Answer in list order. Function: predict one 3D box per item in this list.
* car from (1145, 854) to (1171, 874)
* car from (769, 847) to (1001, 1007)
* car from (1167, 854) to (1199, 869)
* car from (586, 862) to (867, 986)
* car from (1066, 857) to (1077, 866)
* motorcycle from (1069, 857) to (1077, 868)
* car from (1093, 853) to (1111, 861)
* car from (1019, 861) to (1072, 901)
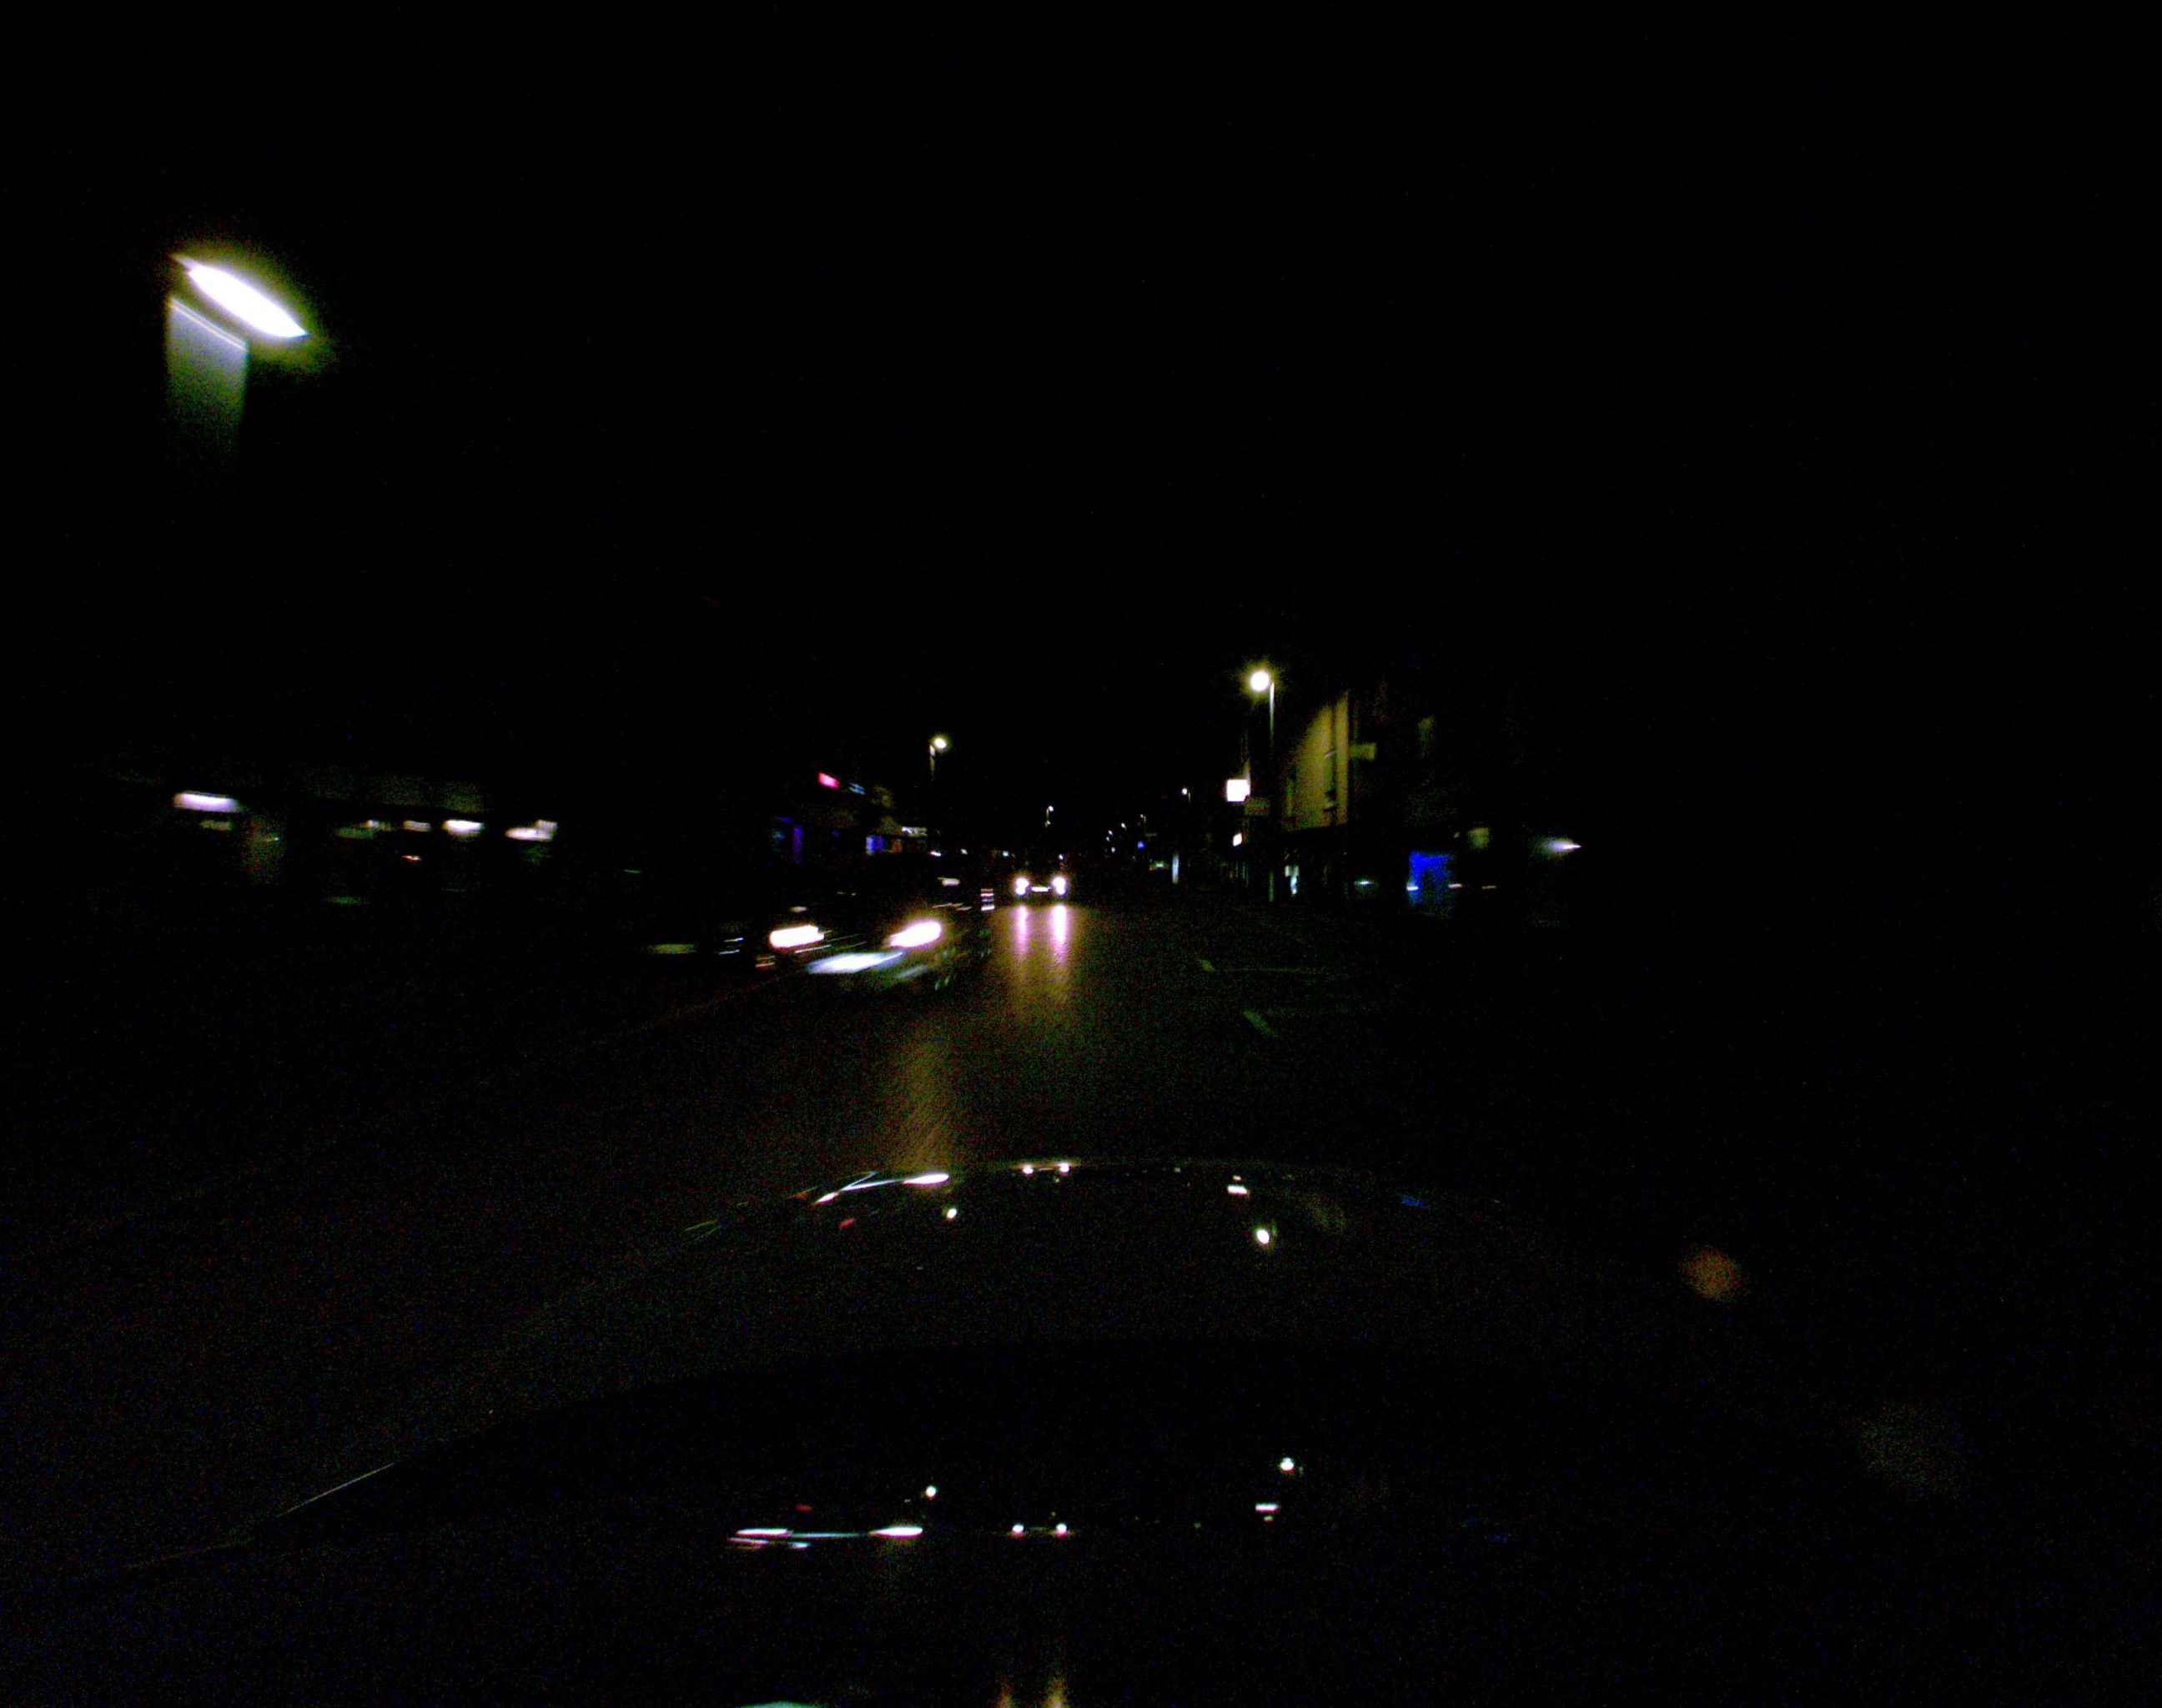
[{"bbox_3d":[6.144,0.770,65.606,1.737,1.569,4.208,-1,0,1],"label":"car"},{"bbox_3d":[-2.247,0.768,10.592,1.740,1.645,4.311,-1,0,3],"label":"car"},{"bbox_3d":[12.387,0.891,98.828,3.496,1.525,1.819,-3,-1,-2],"label":"car"},{"bbox_3d":[-4.912,0.863,12.269,1.889,1.419,4.933,1,0,2],"label":"car"},{"bbox_3d":[-1.541,1.194,129.646,1.683,1.510,4.277,0,0,0],"label":"car"},{"bbox_3d":[-1.053,1.190,110.296,0.742,1.452,2.200,0,0,7],"label":"motorcycle"},{"bbox_3d":[6.069,0.931,234.973,5.170,2.013,2.099,-1,0,-3],"label":"car"},{"bbox_3d":[-1.308,0.988,31.440,1.710,1.428,3.818,0,0,2],"label":"car"}]
